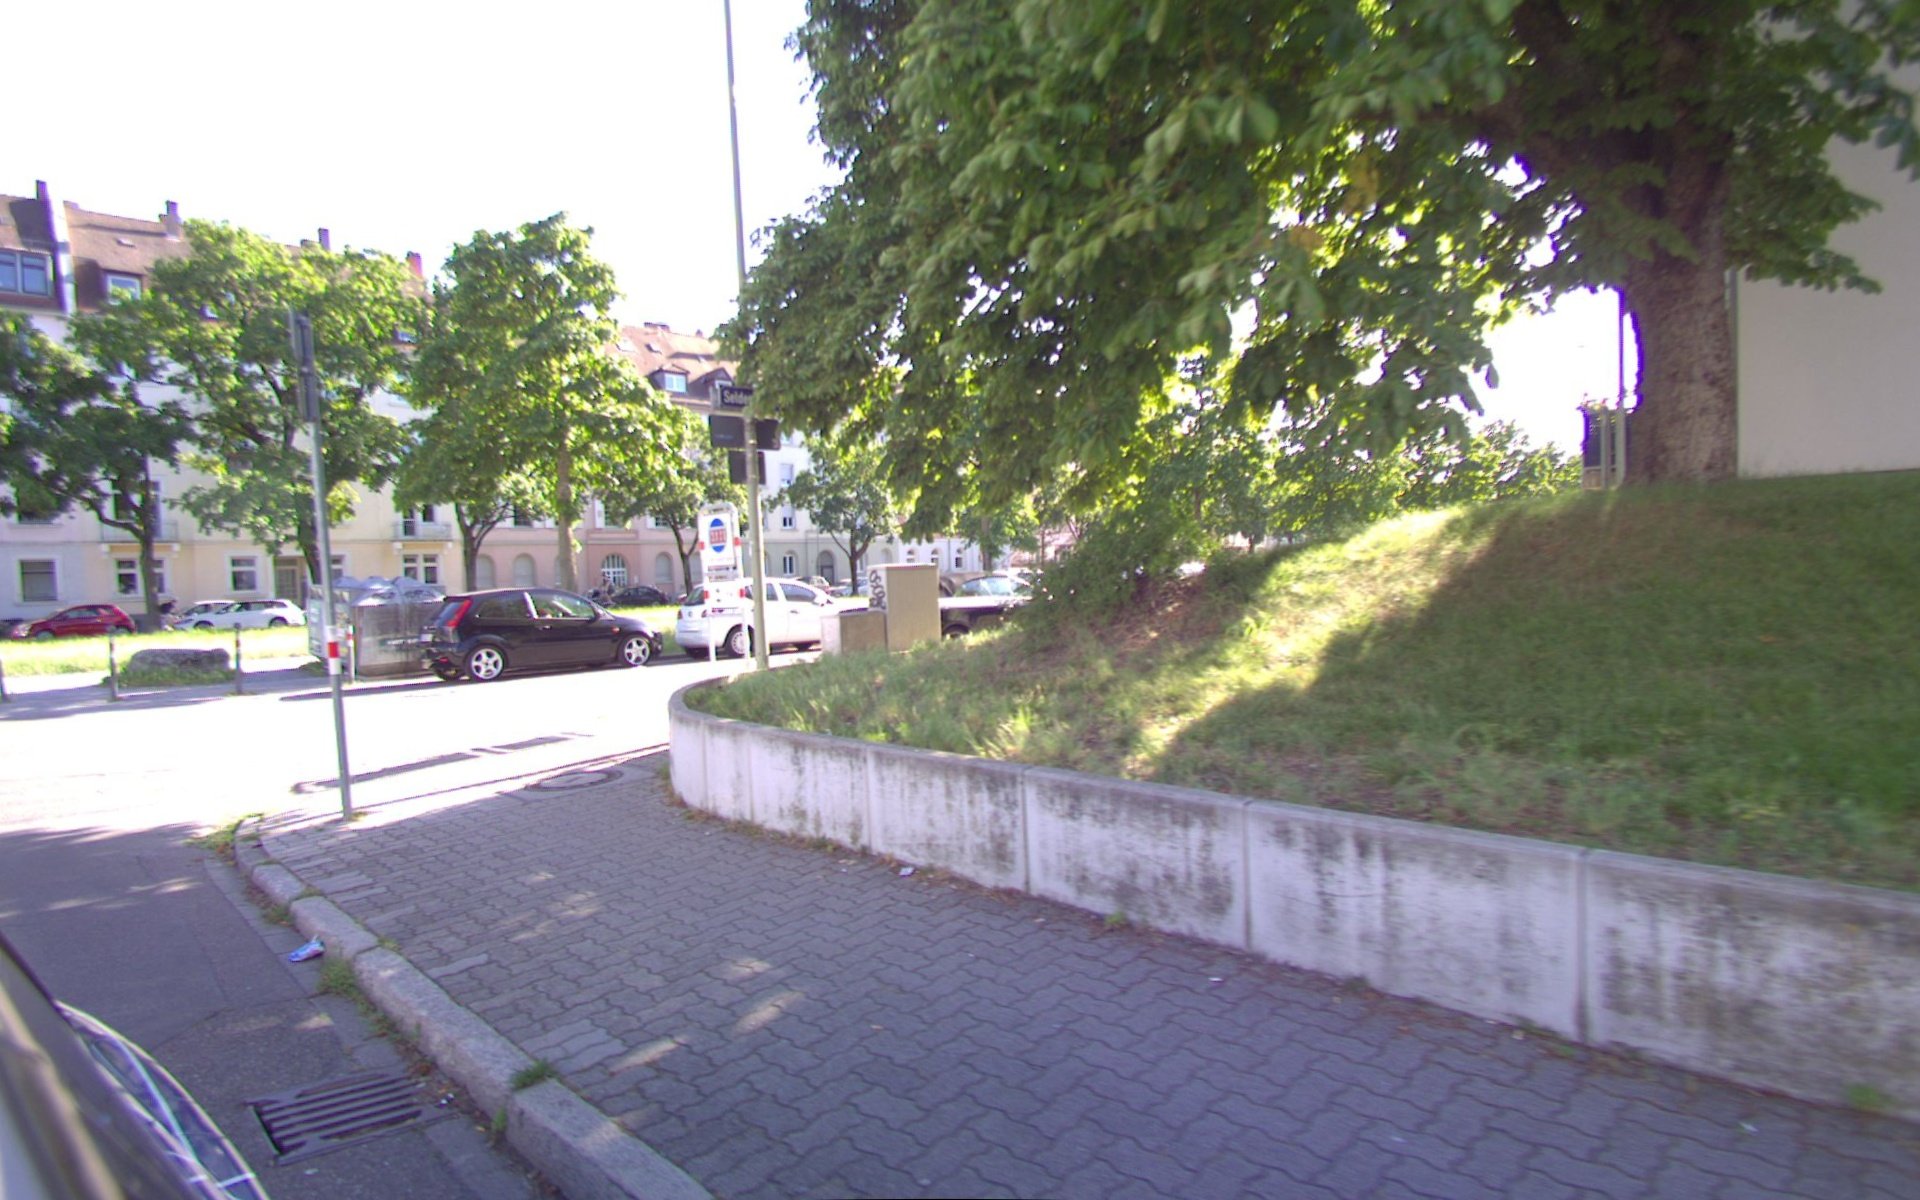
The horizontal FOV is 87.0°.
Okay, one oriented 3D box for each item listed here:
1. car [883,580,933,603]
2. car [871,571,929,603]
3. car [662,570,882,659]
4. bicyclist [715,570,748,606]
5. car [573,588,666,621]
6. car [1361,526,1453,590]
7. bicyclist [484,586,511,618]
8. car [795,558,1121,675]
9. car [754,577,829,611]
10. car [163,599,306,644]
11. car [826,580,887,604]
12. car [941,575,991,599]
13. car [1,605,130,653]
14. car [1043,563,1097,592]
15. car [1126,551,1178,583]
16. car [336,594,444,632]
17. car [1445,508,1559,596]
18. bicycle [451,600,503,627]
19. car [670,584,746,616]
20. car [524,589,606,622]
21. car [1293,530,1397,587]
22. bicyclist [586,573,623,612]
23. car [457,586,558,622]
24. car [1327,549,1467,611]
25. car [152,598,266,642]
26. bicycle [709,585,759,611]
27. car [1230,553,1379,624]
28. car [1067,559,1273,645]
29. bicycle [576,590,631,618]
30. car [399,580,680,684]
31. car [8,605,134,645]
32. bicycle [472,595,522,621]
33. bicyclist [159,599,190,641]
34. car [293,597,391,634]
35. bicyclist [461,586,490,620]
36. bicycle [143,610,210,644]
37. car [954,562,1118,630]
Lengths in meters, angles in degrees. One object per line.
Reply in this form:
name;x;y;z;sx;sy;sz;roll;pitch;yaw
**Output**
car;-3.608;-0.595;70.370;3.292;1.451;1.386;-4;2;-44
car;-4.562;-1.036;77.490;1.782;2.275;4.401;-1;2;43
car;-3.588;0.251;19.686;3.817;1.506;1.784;-3;0;-44
bicyclist;-12.426;-0.658;55.017;0.945;1.851;1.429;-2;0;44
car;-18.545;0.218;55.260;1.762;1.560;4.465;-1;2;43
car;18.851;-1.771;42.618;4.065;2.515;2.107;-4;2;-44
bicyclist;-21.424;0.107;46.866;0.929;1.448;0.741;-2;0;-45
car;0.094;0.193;14.718;4.439;1.347;2.134;-4;0;-44
car;-10.519;-0.366;63.380;1.742;1.922;4.399;-1;2;43
car;-30.650;0.863;42.863;1.699;1.573;4.632;-1;2;43
car;-6.855;-0.524;67.082;3.718;1.439;1.701;-4;2;-44
car;0.506;-1.081;82.633;1.866;1.762;3.943;-1;2;44
car;-38.341;1.189;43.435;3.994;1.764;2.002;-4;2;-44
car;9.078;-1.874;83.184;1.699;2.230;4.938;-1;2;43
car;17.504;-2.996;92.072;1.922;2.764;5.546;-1;2;43
car;-26.486;0.588;47.145;1.699;1.538;4.024;-1;2;43
car;18.572;-1.632;34.520;2.169;2.709;5.341;-1;2;42
bicycle;-21.438;0.607;44.938;0.734;1.087;1.928;-1;2;43
car;-14.676;-0.027;59.122;1.637;1.699;4.024;-1;2;43
car;-22.903;0.296;58.739;3.939;1.714;1.854;-4;2;-42
car;14.500;-1.577;38.033;4.066;1.957;2.107;-4;2;-45
bicyclist;-17.786;-0.384;50.657;0.942;1.851;1.433;-2;0;34
car;-22.659;0.187;50.748;1.637;1.560;4.294;-1;2;43
car;11.806;-0.568;27.233;4.065;1.498;1.997;-4;2;-44
car;-34.796;0.910;46.953;1.870;1.770;3.943;-1;2;44
bicycle;-12.285;-0.106;55.100;0.813;1.261;2.597;-1;2;43
car;8.172;-0.305;23.831;1.786;1.498;3.974;-1;2;44
car;4.036;-0.017;19.072;4.065;1.381;1.787;-4;2;-44
bicycle;-17.796;0.188;50.622;0.810;1.261;2.605;-1;2;34
car;-6.812;0.474;16.620;3.858;1.435;1.755;-3;-1;-44
car;-34.310;0.943;39.124;1.699;1.289;3.477;-1;2;43
bicycle;-21.415;0.348;46.871;0.734;1.087;1.928;-1;2;43
bicyclist;-33.087;0.826;42.636;0.632;1.703;0.867;-1;2;44
car;-30.954;0.761;50.745;1.891;1.627;3.805;-1;2;44
bicyclist;-21.496;0.123;44.920;0.929;1.448;0.741;-2;0;-45
bicycle;-33.027;1.120;42.698;0.715;1.267;2.124;-1;2;43
car;1.952;-0.147;25.182;4.065;1.472;1.787;-4;2;-44
